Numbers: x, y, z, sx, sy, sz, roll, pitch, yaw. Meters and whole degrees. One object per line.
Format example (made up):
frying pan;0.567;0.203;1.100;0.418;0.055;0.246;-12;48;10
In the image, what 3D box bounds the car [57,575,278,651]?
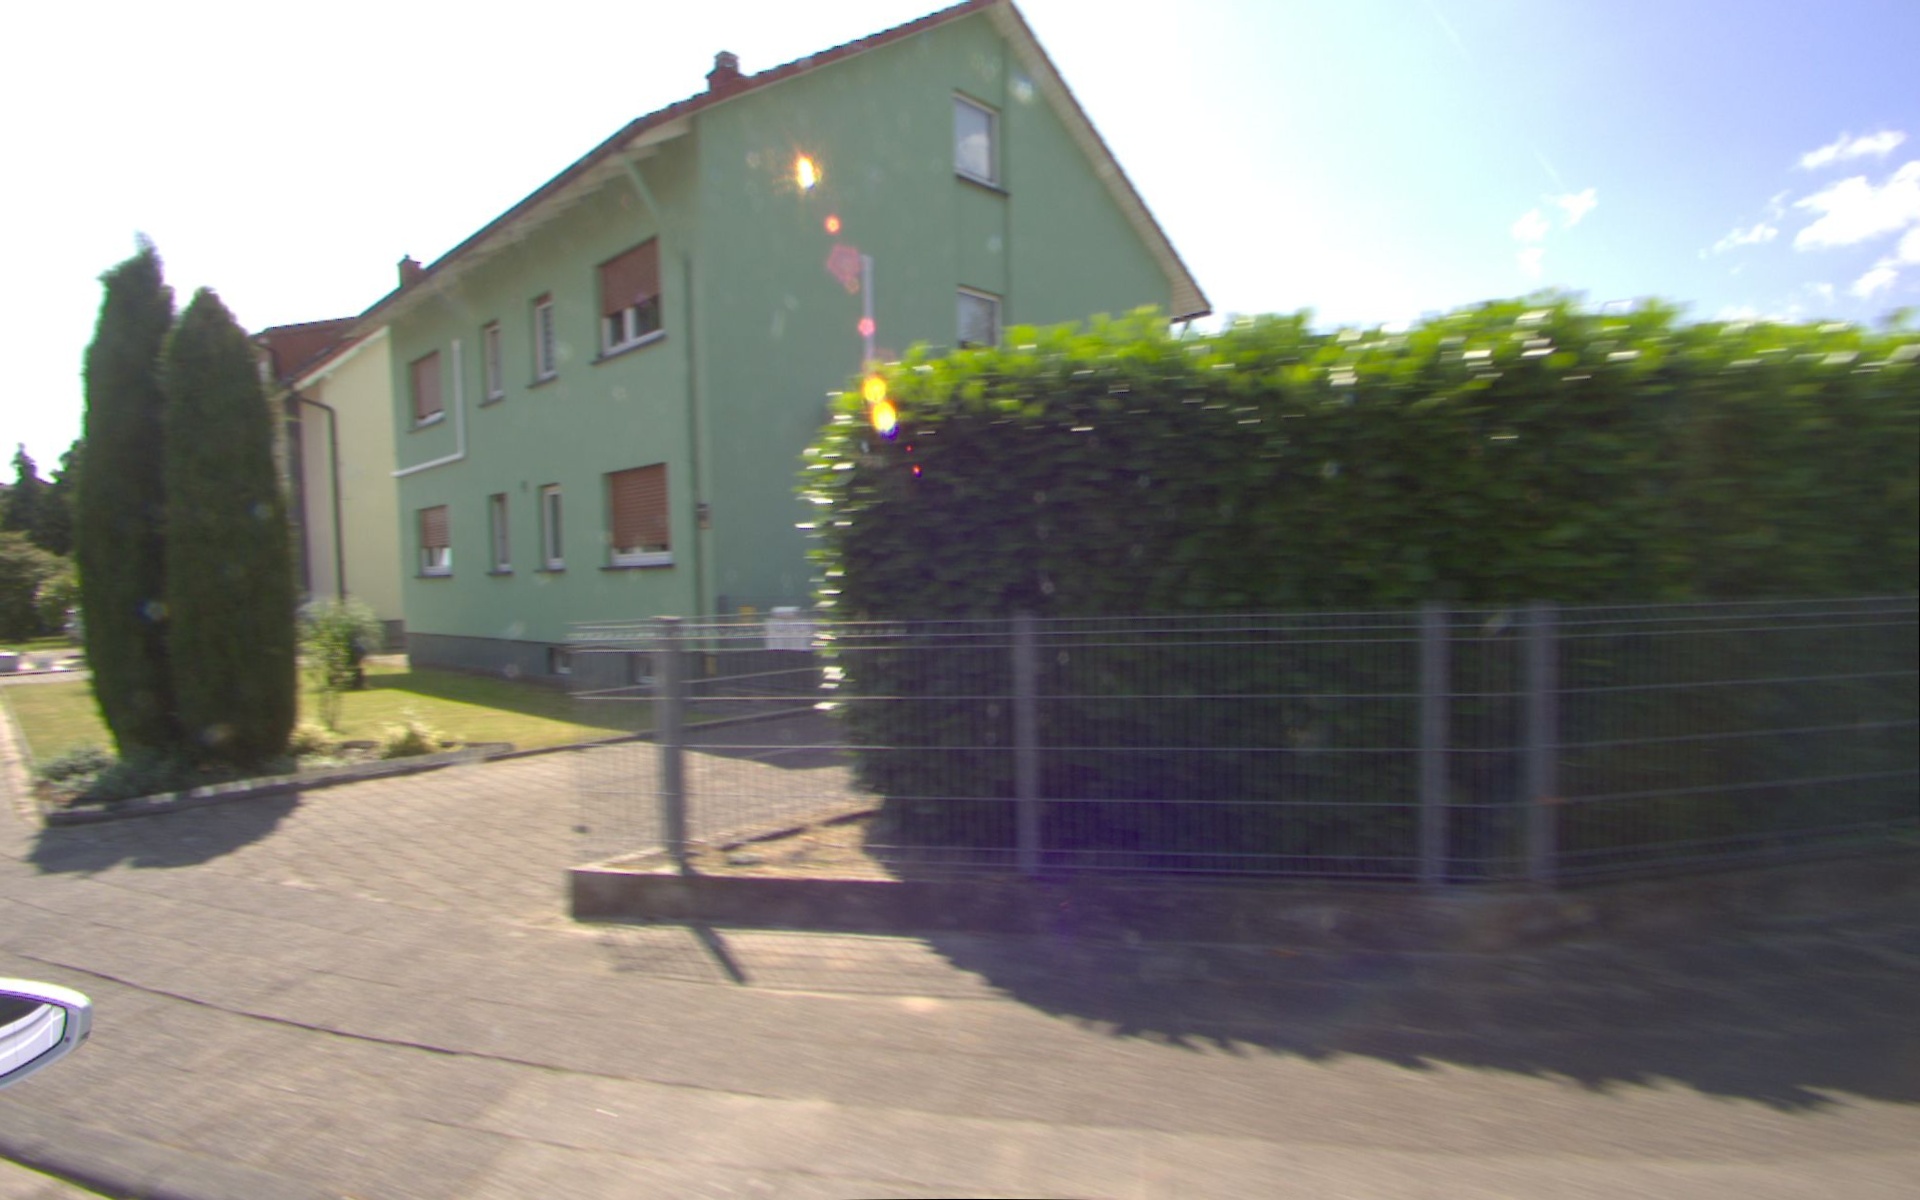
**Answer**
car;-18.705;0.242;23.745;3.887;1.531;1.756;-4;4;-45
